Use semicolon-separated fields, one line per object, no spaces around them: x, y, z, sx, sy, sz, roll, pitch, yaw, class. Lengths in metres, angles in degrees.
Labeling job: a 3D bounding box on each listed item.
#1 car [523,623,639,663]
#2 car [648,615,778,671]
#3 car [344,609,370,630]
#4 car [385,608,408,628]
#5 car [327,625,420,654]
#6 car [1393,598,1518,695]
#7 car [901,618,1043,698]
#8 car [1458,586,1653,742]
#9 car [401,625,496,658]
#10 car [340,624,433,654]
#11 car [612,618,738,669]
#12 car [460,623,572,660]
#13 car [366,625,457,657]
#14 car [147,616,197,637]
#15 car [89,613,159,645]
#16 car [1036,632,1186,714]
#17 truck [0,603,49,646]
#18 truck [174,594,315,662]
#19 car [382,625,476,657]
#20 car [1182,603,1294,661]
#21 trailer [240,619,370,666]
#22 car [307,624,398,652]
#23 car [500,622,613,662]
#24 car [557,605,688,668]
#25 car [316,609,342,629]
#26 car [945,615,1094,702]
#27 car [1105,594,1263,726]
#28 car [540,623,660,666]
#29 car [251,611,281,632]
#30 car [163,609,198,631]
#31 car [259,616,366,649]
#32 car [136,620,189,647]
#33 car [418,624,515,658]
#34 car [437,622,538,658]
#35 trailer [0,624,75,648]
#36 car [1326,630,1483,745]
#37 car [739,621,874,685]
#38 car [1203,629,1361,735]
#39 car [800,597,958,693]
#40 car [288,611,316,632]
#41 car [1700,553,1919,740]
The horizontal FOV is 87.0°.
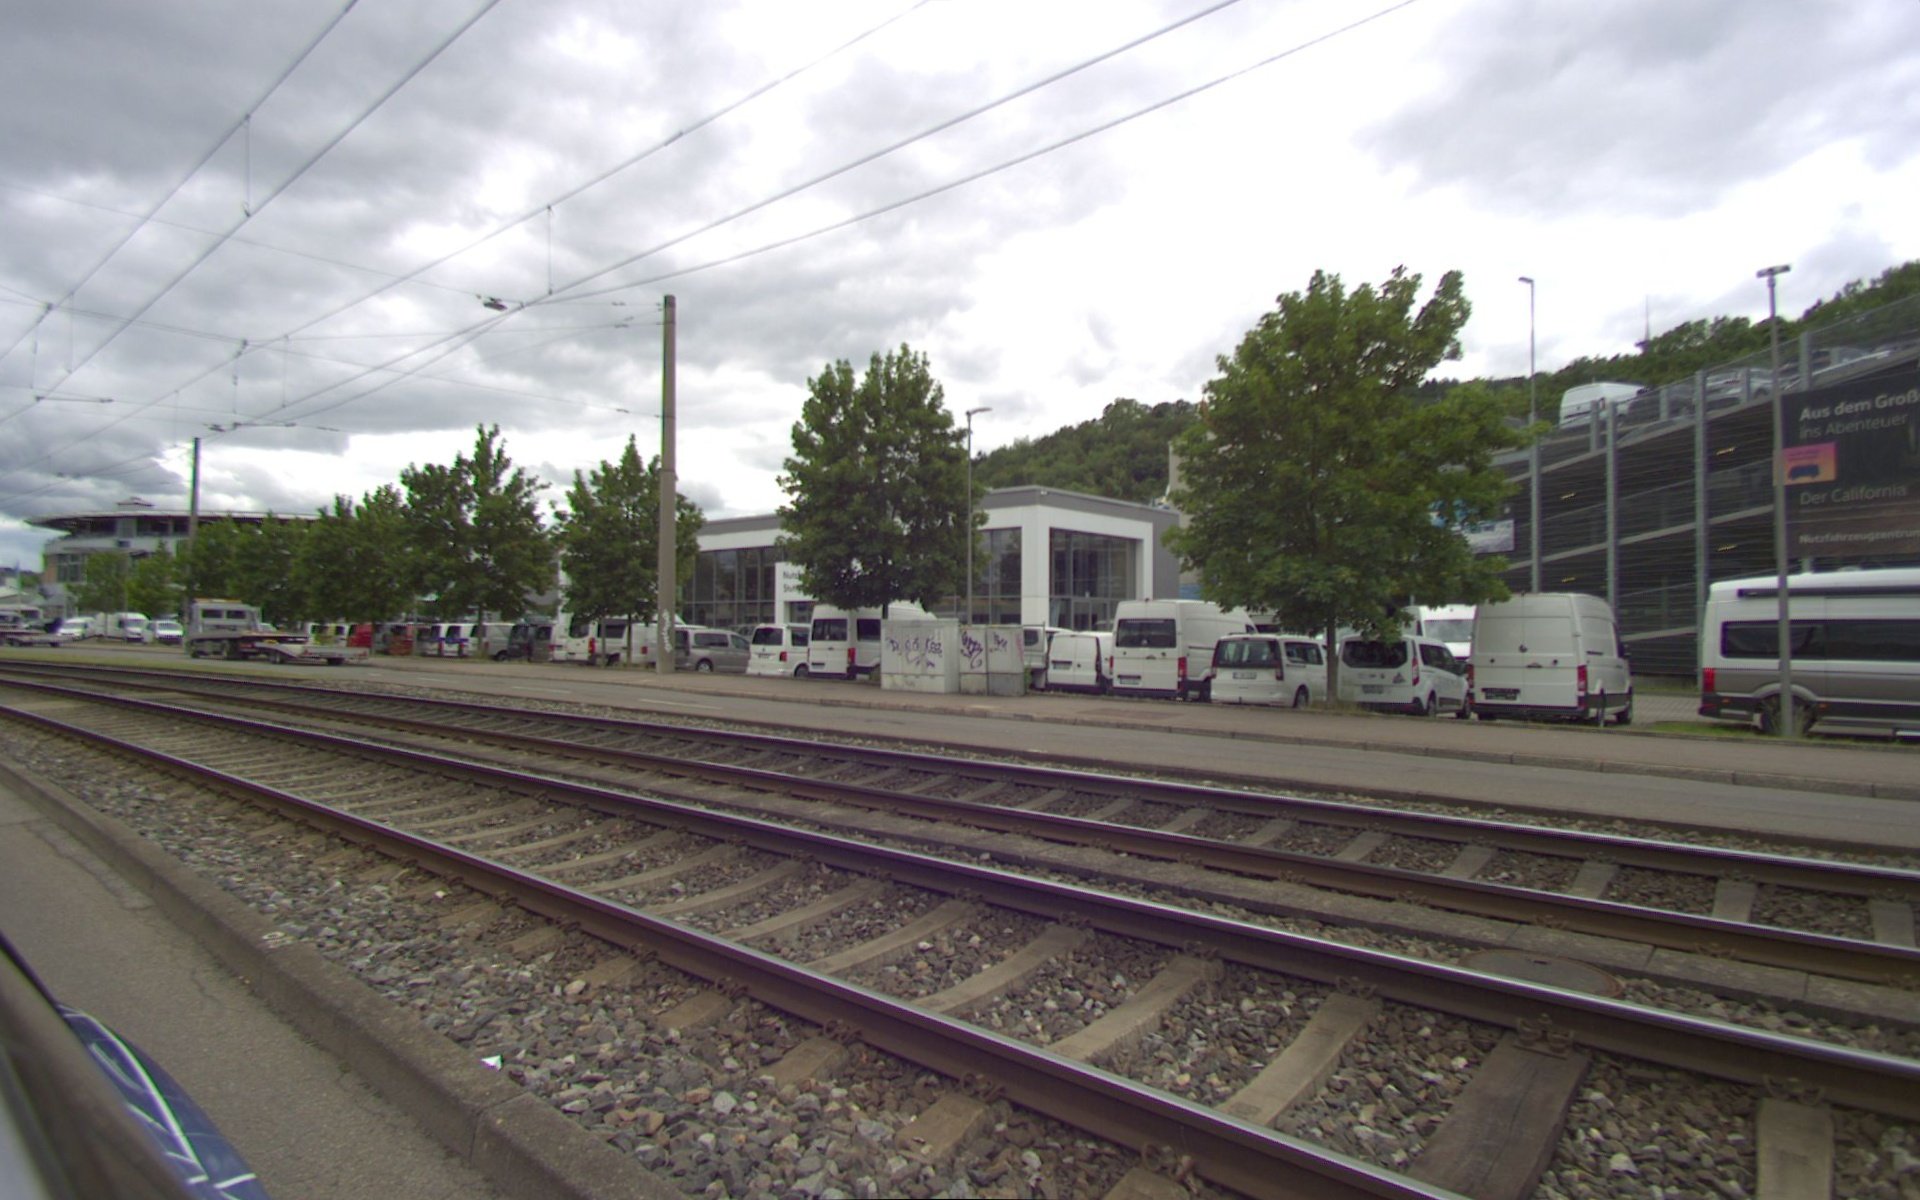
-16.517;1.841;44.248;2.004;1.630;4.318;-2;-2;43;car
-9.118;1.571;37.638;2.004;1.962;4.318;-2;-2;43;car
-60.460;1.980;101.524;1.965;2.029;4.013;1;-2;-28;car
-58.087;1.846;104.329;1.965;2.029;4.013;1;-2;-28;car
-34.323;2.291;59.300;2.120;1.630;4.297;-2;-2;43;car
14.696;1.341;30.415;1.984;2.622;5.929;0;-2;12;car
0.436;1.638;29.902;2.001;2.189;4.324;-1;-2;38;car
11.774;1.150;19.808;2.246;2.622;5.414;-2;-2;42;car
-26.356;2.125;52.225;2.000;1.630;3.943;-2;-2;43;car
-32.212;2.181;56.867;2.063;1.630;4.132;-2;-2;43;car
-10.970;1.652;39.135;2.004;1.859;4.318;-2;-2;43;car
-20.554;1.894;46.944;2.004;1.630;4.318;-2;-2;42;car
-29.897;2.183;55.204;2.048;1.677;3.943;-2;-2;43;car
-80.107;2.687;102.939;1.973;2.029;3.997;0;-2;2;car
-67.658;2.354;81.883;5.827;2.580;1.984;-1;-2;24;car
4.010;1.796;26.365;2.001;1.925;4.324;-1;-2;38;car
-70.355;1.832;74.738;8.438;3.004;2.838;-1;-4;36;truck
-32.197;1.280;45.361;9.210;2.763;2.728;-1;-4;40;truck
-28.033;2.136;53.480;2.000;1.630;3.943;-2;-2;43;car
10.443;1.197;37.783;2.000;2.029;4.789;-1;-2;44;car
-26.076;1.672;40.151;6.942;1.711;2.358;-1;-4;40;trailer
-36.672;2.297;61.138;2.154;1.630;4.288;-2;-2;43;car
-18.294;1.883;46.011;2.004;1.699;4.318;-2;-2;43;car
-13.265;1.423;40.005;2.125;2.329;4.447;-2;-2;43;car
-63.922;1.927;102.585;1.965;2.029;4.013;1;-2;-28;car
1.705;1.532;27.758;2.001;2.189;4.324;-1;-2;38;car
5.416;1.356;24.087;2.001;2.840;4.324;-1;-2;38;car
-15.053;1.812;42.483;2.029;1.701;4.323;-1;-2;38;car
-67.313;2.083;98.177;1.965;2.029;4.013;1;-2;-28;car
-73.256;1.928;95.169;1.965;2.029;4.013;1;-2;-28;car
-41.078;2.083;64.413;5.617;2.023;2.150;1;-2;-30;car
-61.961;2.574;78.647;4.797;2.029;1.976;-1;-2;36;car
-24.618;2.027;50.558;2.000;1.630;3.943;-2;-2;43;car
-22.567;1.879;48.403;2.000;1.630;3.943;-2;-2;43;car
-64.067;2.518;70.026;7.211;1.507;2.733;-1;-4;36;trailer
9.397;1.705;21.204;2.001;2.121;4.324;-1;-2;38;car
-5.090;1.723;34.000;2.001;2.026;4.324;-1;-2;38;car
7.310;1.709;22.686;2.001;2.121;4.324;-1;-2;38;car
-2.382;1.332;31.039;2.112;2.719;4.918;-1;-2;38;car
-65.444;2.132;100.757;1.965;2.029;4.013;1;-2;-28;car
16.406;0.783;17.195;5.938;3.042;2.084;-2;-2;44;car
